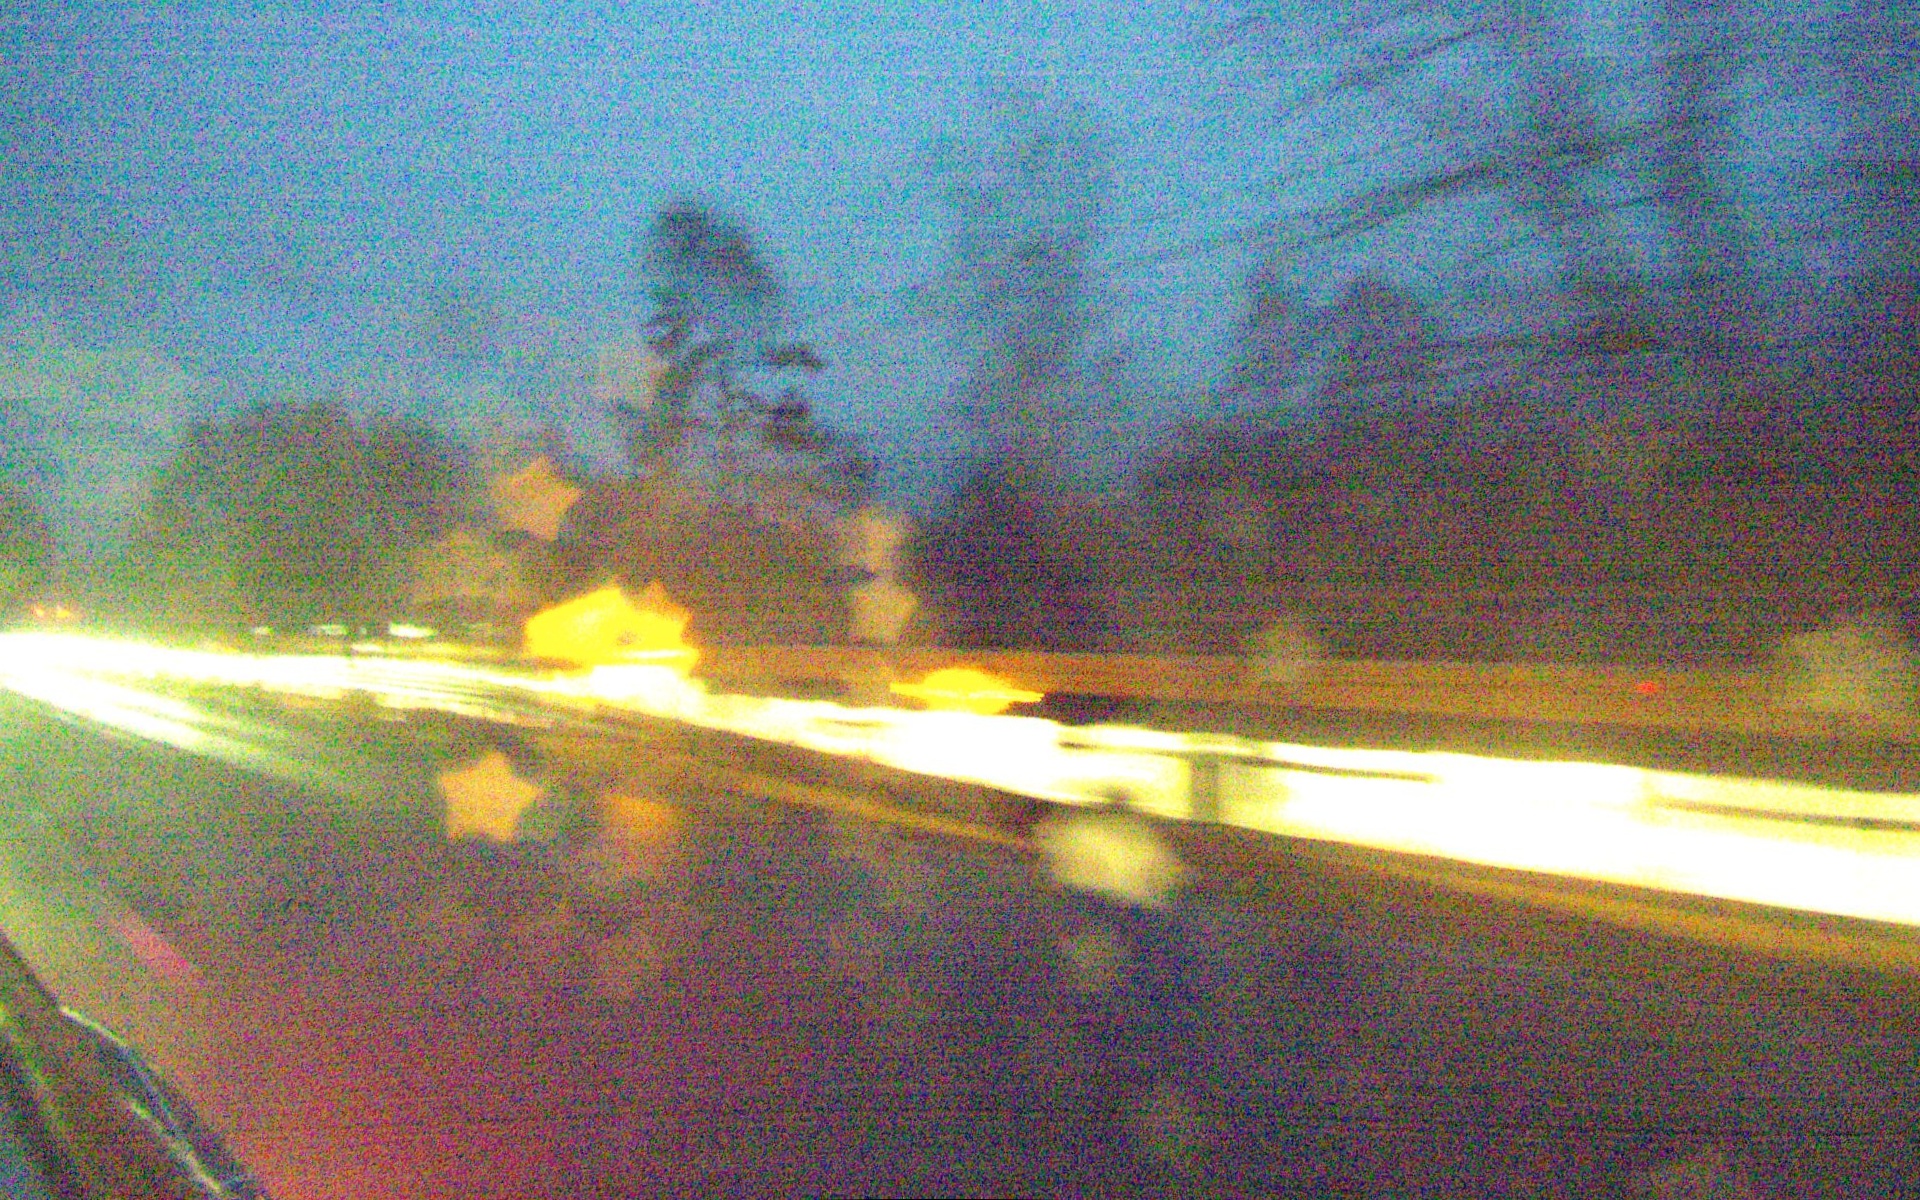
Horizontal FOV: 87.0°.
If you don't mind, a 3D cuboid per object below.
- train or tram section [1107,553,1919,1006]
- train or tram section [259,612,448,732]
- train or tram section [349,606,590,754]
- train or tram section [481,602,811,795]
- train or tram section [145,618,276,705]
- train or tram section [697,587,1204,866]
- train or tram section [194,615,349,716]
[{"bbox_3d":[5.992,1.460,10.863,8.547,3.486,2.814,-2,-2,41],"label":"train or tram section"},{"bbox_3d":[-20.175,2.209,33.392,8.547,3.486,2.814,-2,-2,41],"label":"train or tram section"},{"bbox_3d":[-13.683,2.006,27.800,8.547,3.486,2.814,-2,-2,41],"label":"train or tram section"},{"bbox_3d":[-7.161,1.898,22.189,8.547,3.486,2.814,-2,-2,41],"label":"train or tram section"},{"bbox_3d":[-33.135,2.590,44.596,8.547,3.486,2.814,-2,-2,41],"label":"train or tram section"},{"bbox_3d":[-0.596,1.692,16.552,8.547,3.486,2.814,-2,-2,41],"label":"train or tram section"},{"bbox_3d":[-26.645,2.381,38.989,8.547,3.486,2.814,-2,-2,41],"label":"train or tram section"}]
